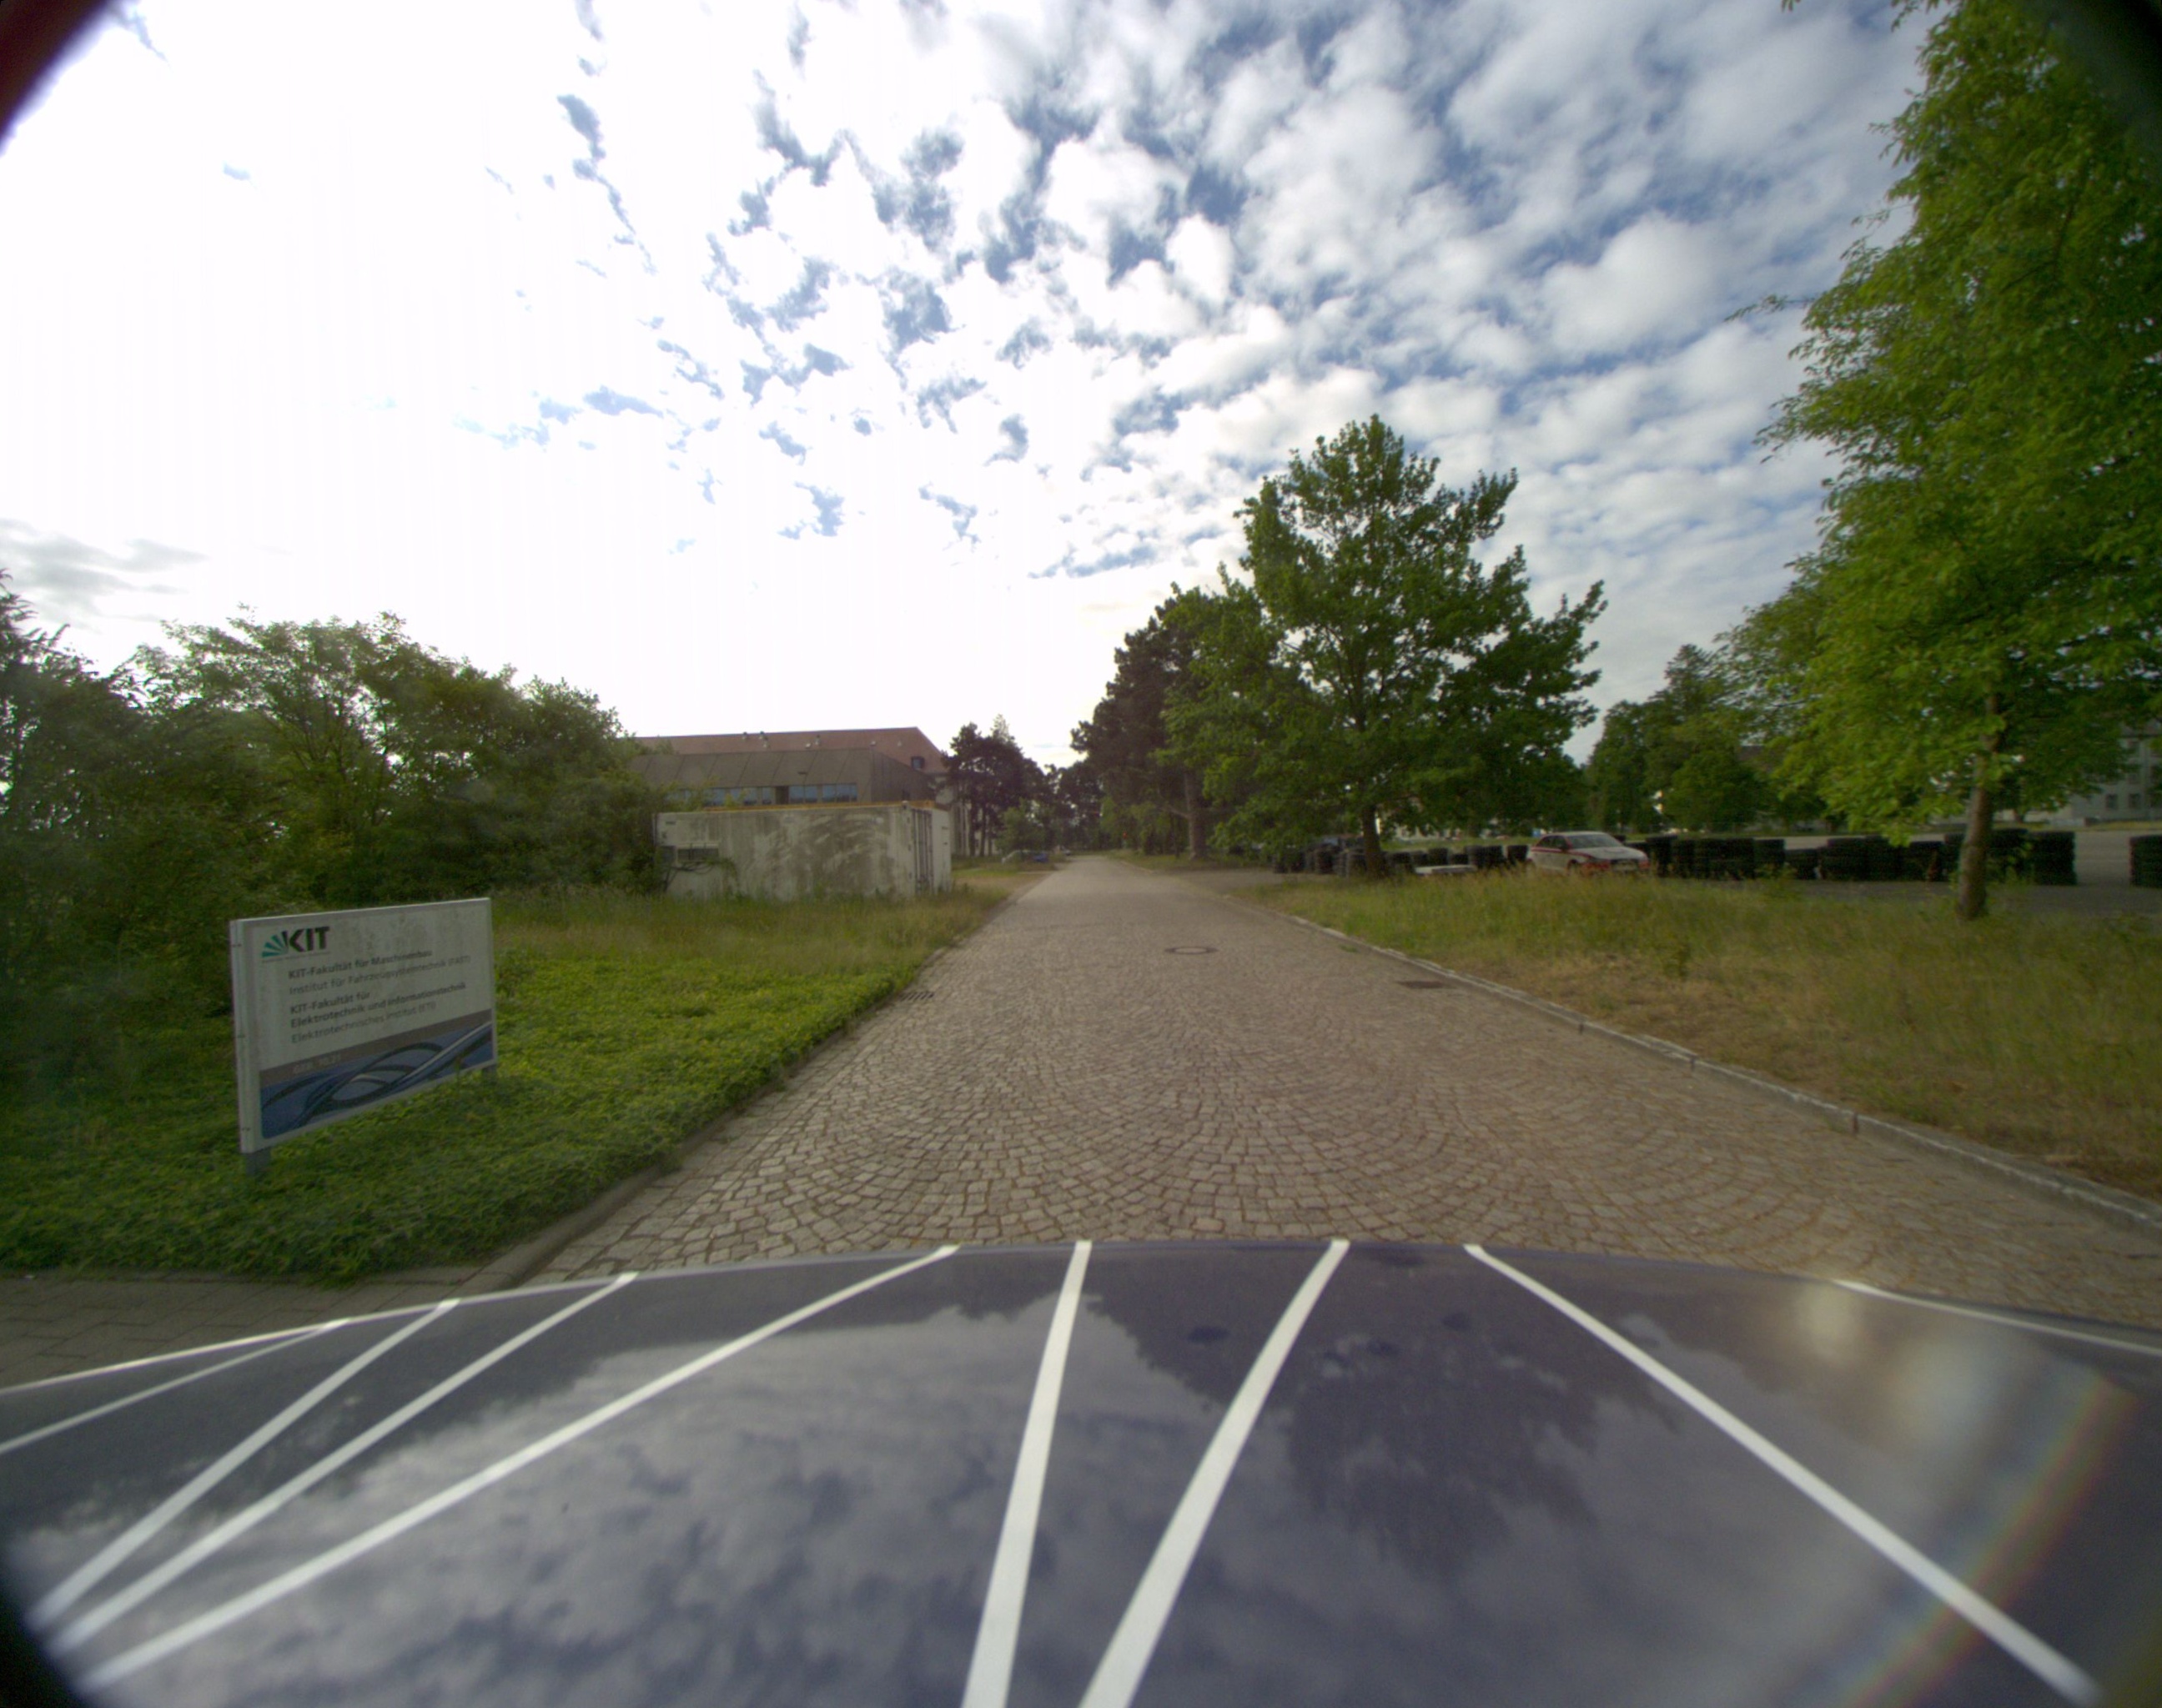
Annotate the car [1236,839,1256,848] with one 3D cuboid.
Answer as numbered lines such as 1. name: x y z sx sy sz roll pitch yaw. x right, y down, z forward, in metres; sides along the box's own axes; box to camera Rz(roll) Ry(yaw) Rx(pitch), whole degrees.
1. car: 26.556 -1.716 122.286 1.999 1.441 4.451 -2 1 -3

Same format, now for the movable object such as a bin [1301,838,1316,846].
1. movable object such as a bin: 32.933 -1.688 110.059 1.057 1.065 2.719 -2 1 -8

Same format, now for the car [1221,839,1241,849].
1. car: 24.047 -1.604 121.828 1.999 1.441 4.451 -2 1 -3

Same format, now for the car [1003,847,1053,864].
1. car: -4.880 0.125 70.256 4.537 1.441 1.931 0 1 -2

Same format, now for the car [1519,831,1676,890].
1. car: 14.115 0.128 21.095 1.827 1.423 4.220 -2 1 6

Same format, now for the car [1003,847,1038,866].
1. car: -4.975 0.210 62.969 2.748 1.573 1.682 0 1 0

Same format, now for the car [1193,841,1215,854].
1. car: 13.638 -0.737 84.353 1.670 1.402 3.722 -2 1 -2
